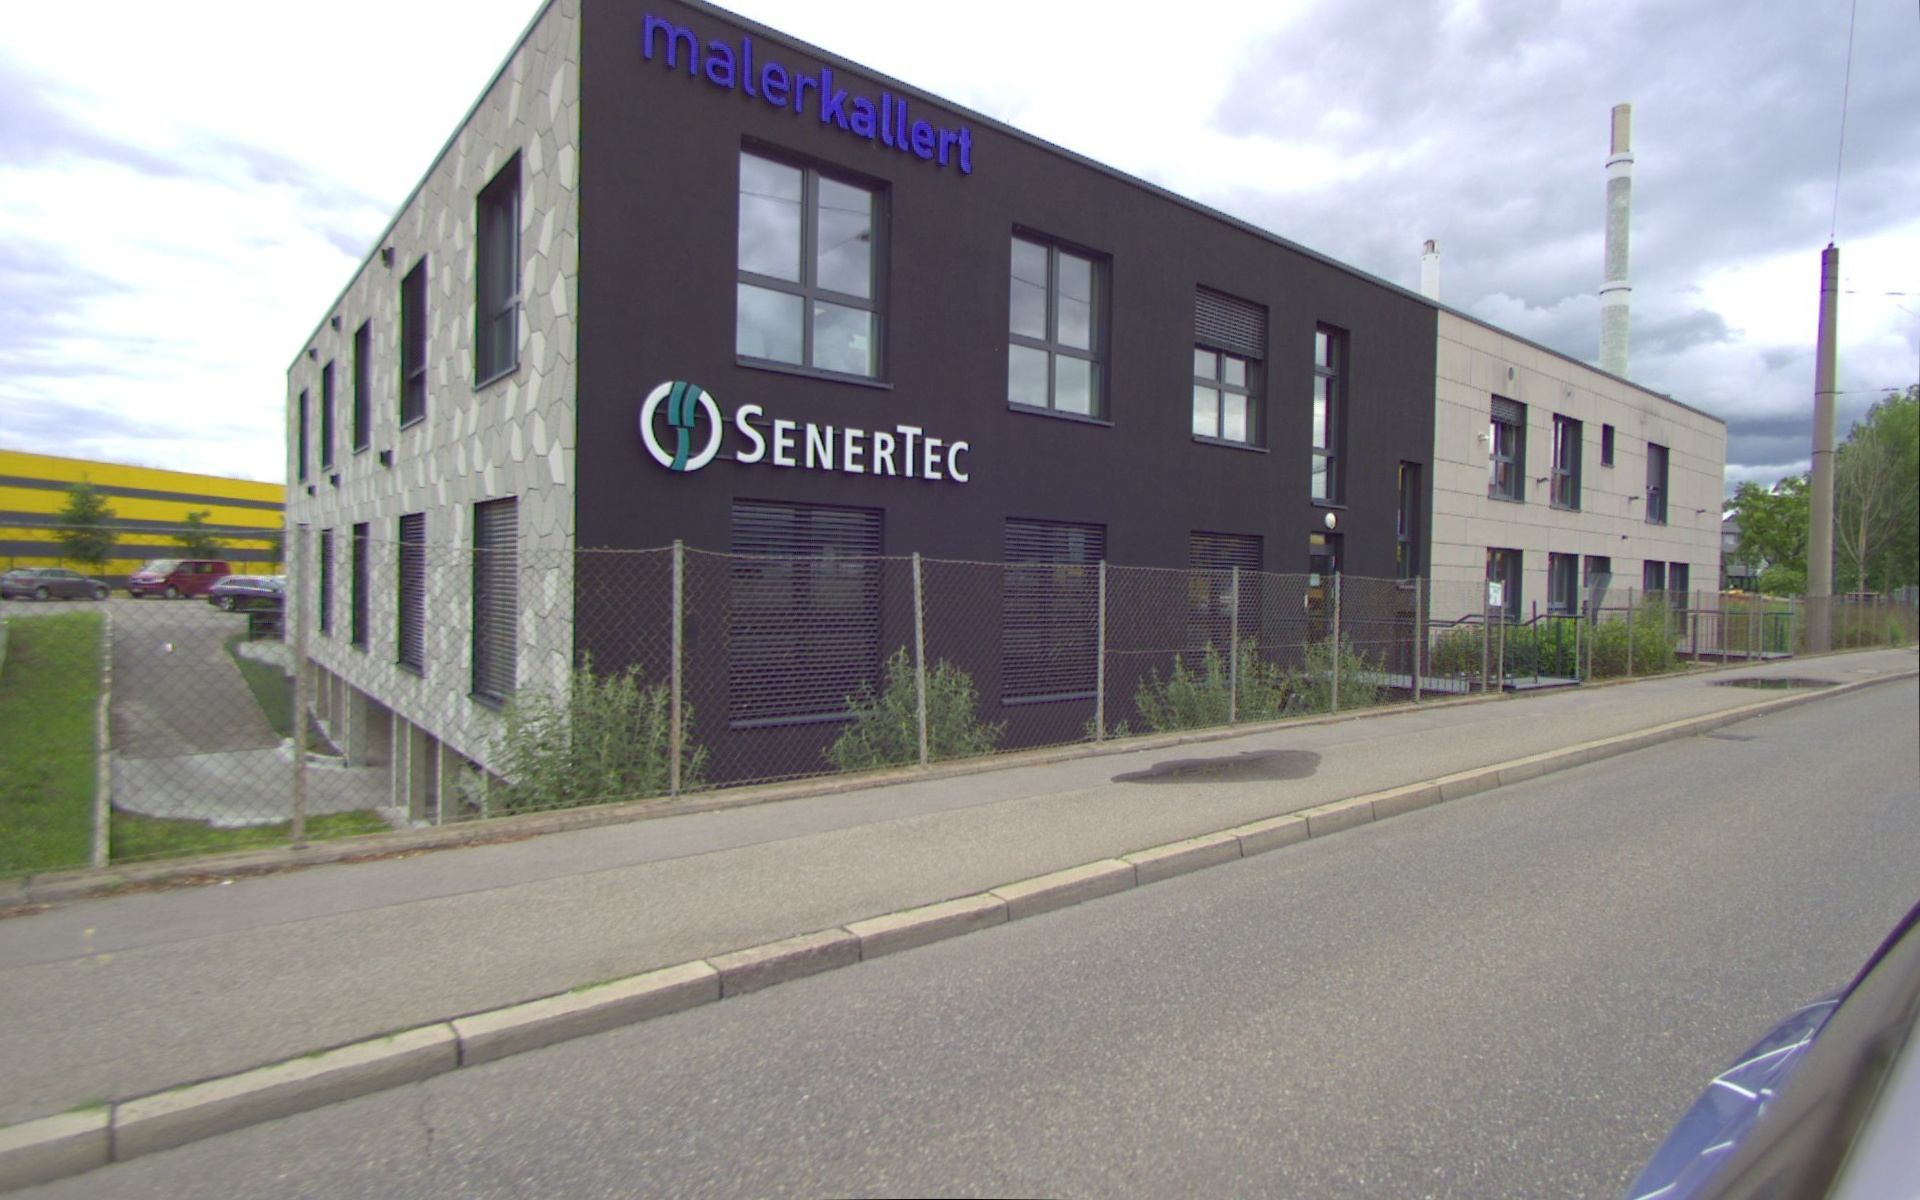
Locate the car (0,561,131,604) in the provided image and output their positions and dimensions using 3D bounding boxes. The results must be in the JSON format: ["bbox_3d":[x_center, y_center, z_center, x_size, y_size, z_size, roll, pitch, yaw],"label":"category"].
[{"bbox_3d":[-38.823,-0.731,43.707,1.972,1.713,4.355,3,1,15],"label":"car"}]

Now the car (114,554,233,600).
[{"bbox_3d":[-38.679,-1.082,49.911,1.971,2.148,4.355,-1,0,15],"label":"car"}]

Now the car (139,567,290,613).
[{"bbox_3d":[-28.298,-0.397,38.503,4.293,1.604,2.000,1,1,0],"label":"car"}]

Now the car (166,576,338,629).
[{"bbox_3d":[-23.366,0.061,33.524,4.293,1.604,2.000,1,1,0],"label":"car"}]
